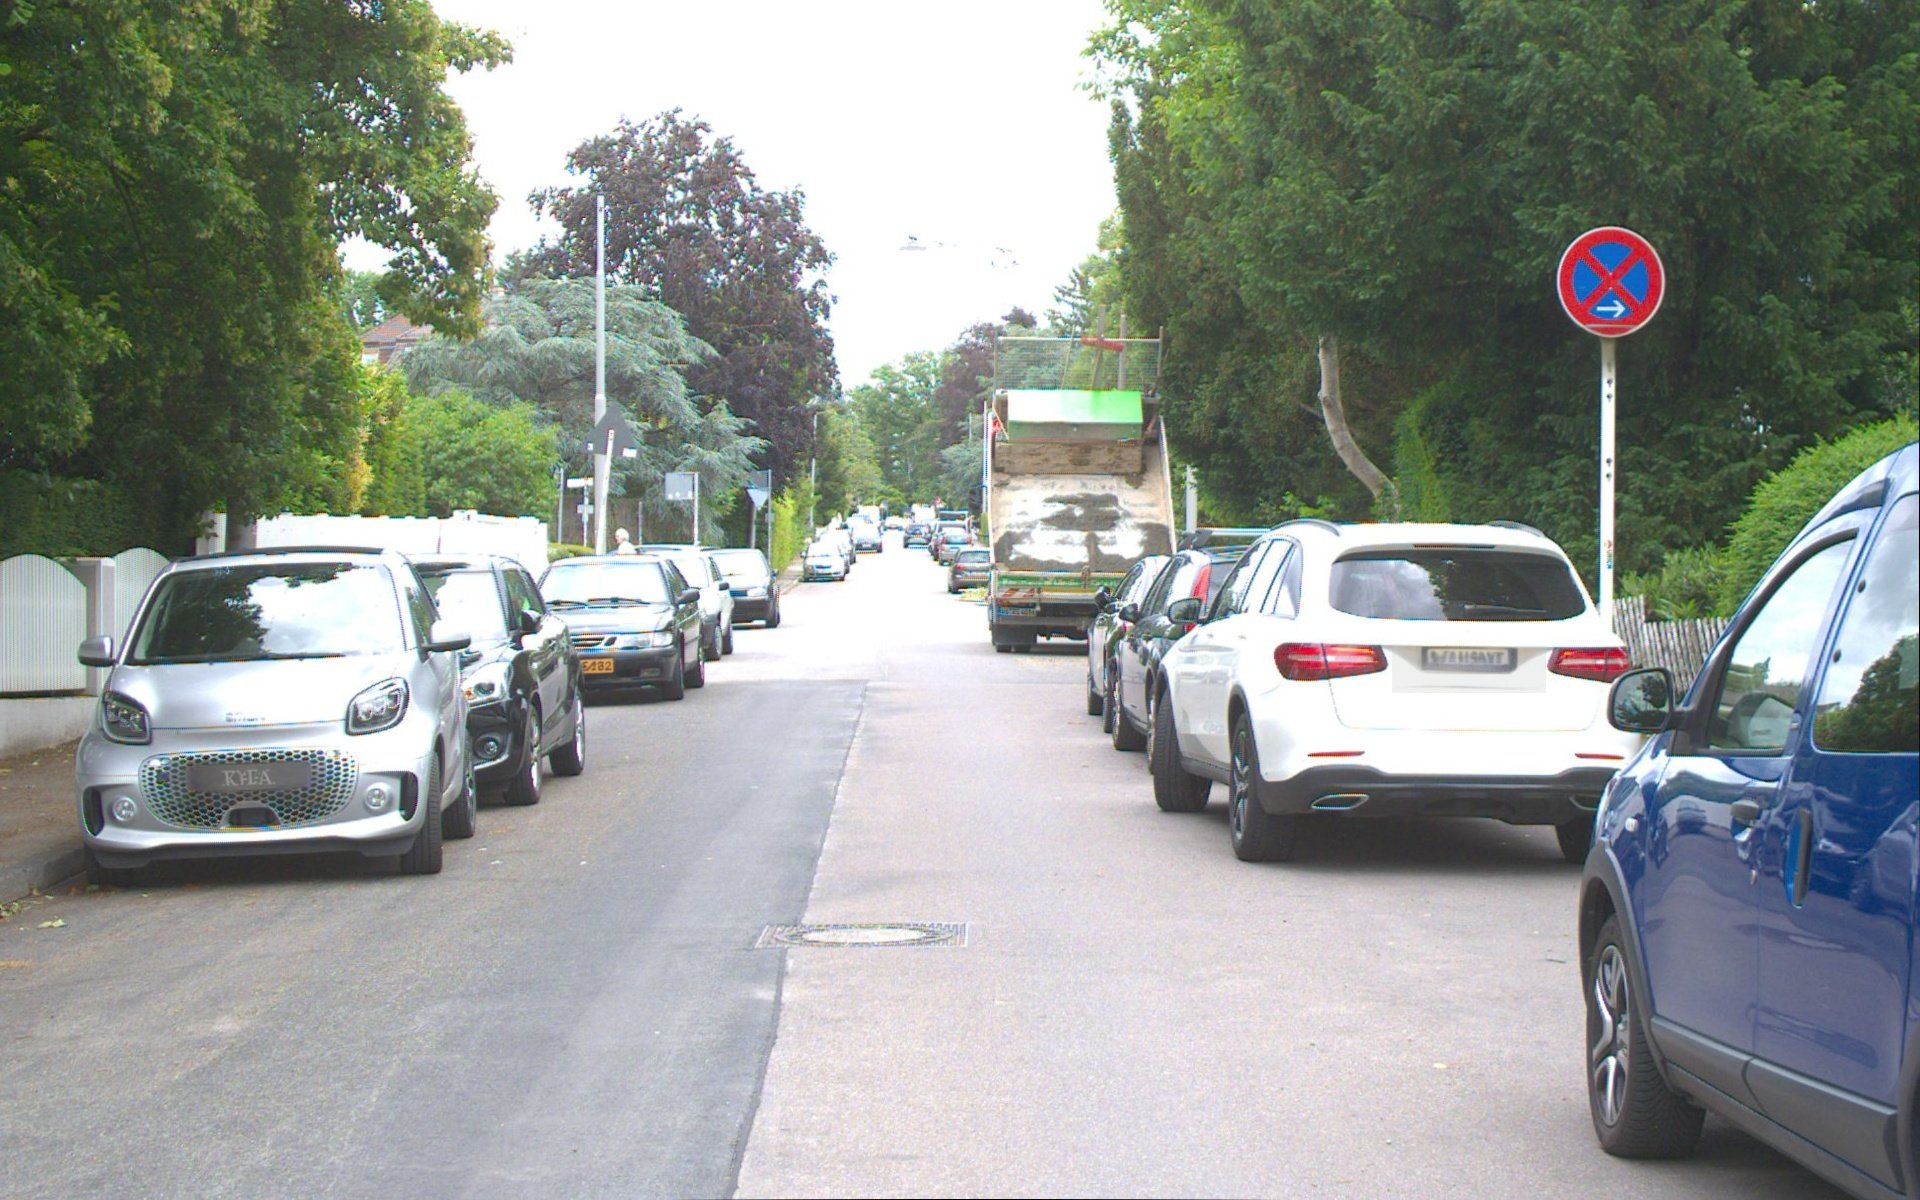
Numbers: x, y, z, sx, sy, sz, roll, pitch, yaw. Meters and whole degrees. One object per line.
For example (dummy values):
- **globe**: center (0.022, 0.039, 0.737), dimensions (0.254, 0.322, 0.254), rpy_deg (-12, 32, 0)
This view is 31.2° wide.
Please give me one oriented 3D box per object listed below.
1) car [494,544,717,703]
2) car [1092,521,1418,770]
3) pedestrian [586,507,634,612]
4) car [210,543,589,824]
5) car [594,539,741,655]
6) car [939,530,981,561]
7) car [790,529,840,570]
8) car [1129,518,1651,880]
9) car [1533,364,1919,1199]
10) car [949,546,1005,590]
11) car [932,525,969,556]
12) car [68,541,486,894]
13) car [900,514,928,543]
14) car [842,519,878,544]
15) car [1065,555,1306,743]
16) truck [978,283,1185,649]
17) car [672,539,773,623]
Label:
- **car**: center (-3.496, 0.185, 34.580), dimensions (1.641, 1.417, 4.549), rpy_deg (-2, 1, 1)
- **car**: center (1.946, 0.253, 23.844), dimensions (1.698, 1.565, 4.309), rpy_deg (0, 1, -3)
- **pedestrian**: center (-6.841, -0.798, 67.165), dimensions (0.852, 2.007, 0.701), rpy_deg (2, 0, -6)
- **car**: center (-3.323, 0.431, 21.050), dimensions (1.655, 1.476, 3.888), rpy_deg (-2, 1, 0)
- **car**: center (-3.862, -0.072, 45.936), dimensions (1.596, 1.428, 4.000), rpy_deg (-2, 1, 0)
- **car**: center (-0.024, -2.576, 161.702), dimensions (1.810, 1.331, 3.633), rpy_deg (2, 2, -2)
- **car**: center (-5.825, -2.036, 138.270), dimensions (1.711, 1.580, 4.000), rpy_deg (1, 1, 2)
- **car**: center (2.059, 0.410, 17.804), dimensions (1.757, 1.600, 4.576), rpy_deg (1, 1, -4)
- **car**: center (2.444, 0.510, 6.998), dimensions (1.682, 1.823, 4.157), rpy_deg (2, 1, -2)
- **car**: center (0.560, -1.110, 118.143), dimensions (1.778, 1.484, 4.000), rpy_deg (0, 1, -2)
- **car**: center (-0.462, -2.944, 170.582), dimensions (1.789, 1.524, 3.734), rpy_deg (1, 1, 1)
- **car**: center (-3.287, 0.504, 17.019), dimensions (1.621, 1.528, 2.963), rpy_deg (-2, 1, -4)
- **car**: center (-2.758, -4.270, 206.229), dimensions (1.633, 1.695, 3.495), rpy_deg (1, 1, -2)
- **car**: center (-5.612, -3.854, 193.388), dimensions (1.728, 1.402, 3.803), rpy_deg (0, 1, 3)
- **car**: center (1.831, 0.354, 29.136), dimensions (1.652, 1.419, 4.661), rpy_deg (1, 1, -1)
- **truck**: center (1.600, -1.806, 48.468), dimensions (2.524, 4.732, 7.187), rpy_deg (1, 1, 0)
- **car**: center (-4.220, -0.357, 61.405), dimensions (1.637, 1.390, 3.989), rpy_deg (-2, 1, -2)
